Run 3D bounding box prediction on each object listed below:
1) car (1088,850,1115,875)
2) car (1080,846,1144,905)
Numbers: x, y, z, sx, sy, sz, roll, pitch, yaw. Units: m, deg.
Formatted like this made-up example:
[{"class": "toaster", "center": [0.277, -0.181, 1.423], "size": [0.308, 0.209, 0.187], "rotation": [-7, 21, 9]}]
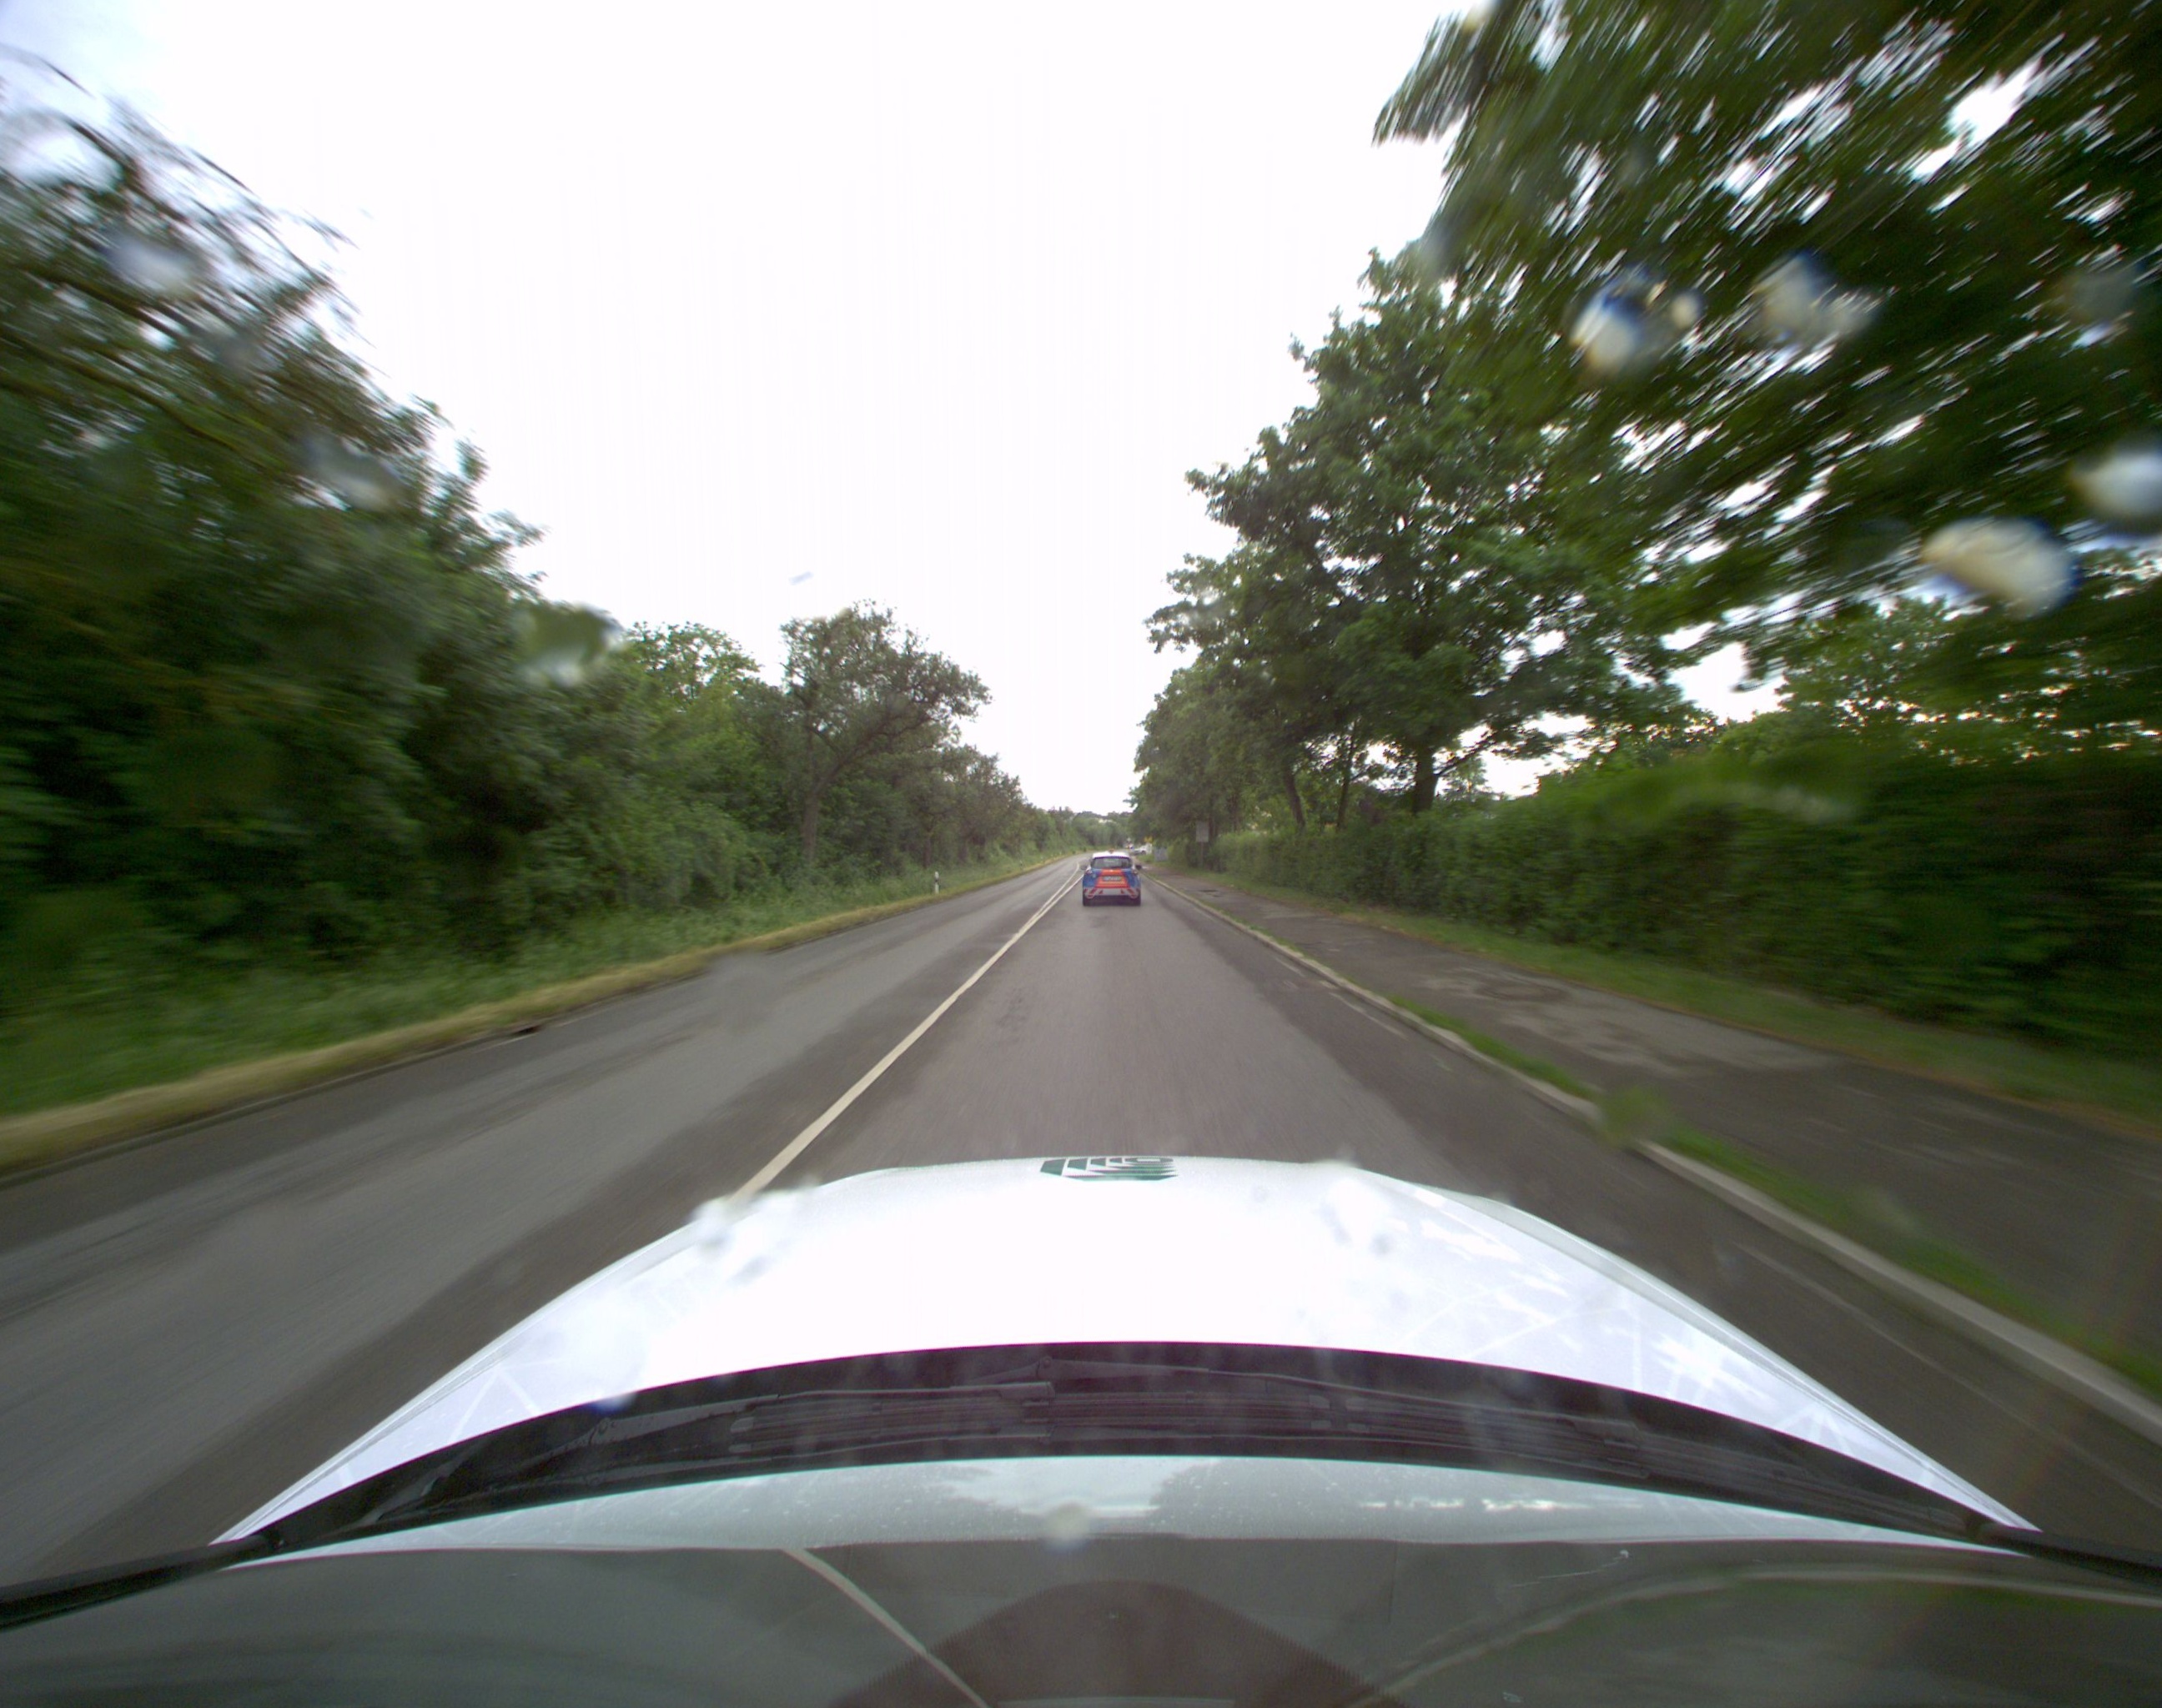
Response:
[{"class": "car", "center": [1.328, 0.541, 53.470], "size": [1.688, 1.595, 3.856], "rotation": [0, 0, 1]}, {"class": "car", "center": [0.932, 0.612, 25.078], "size": [1.799, 1.668, 3.857], "rotation": [0, 0, 1]}]
